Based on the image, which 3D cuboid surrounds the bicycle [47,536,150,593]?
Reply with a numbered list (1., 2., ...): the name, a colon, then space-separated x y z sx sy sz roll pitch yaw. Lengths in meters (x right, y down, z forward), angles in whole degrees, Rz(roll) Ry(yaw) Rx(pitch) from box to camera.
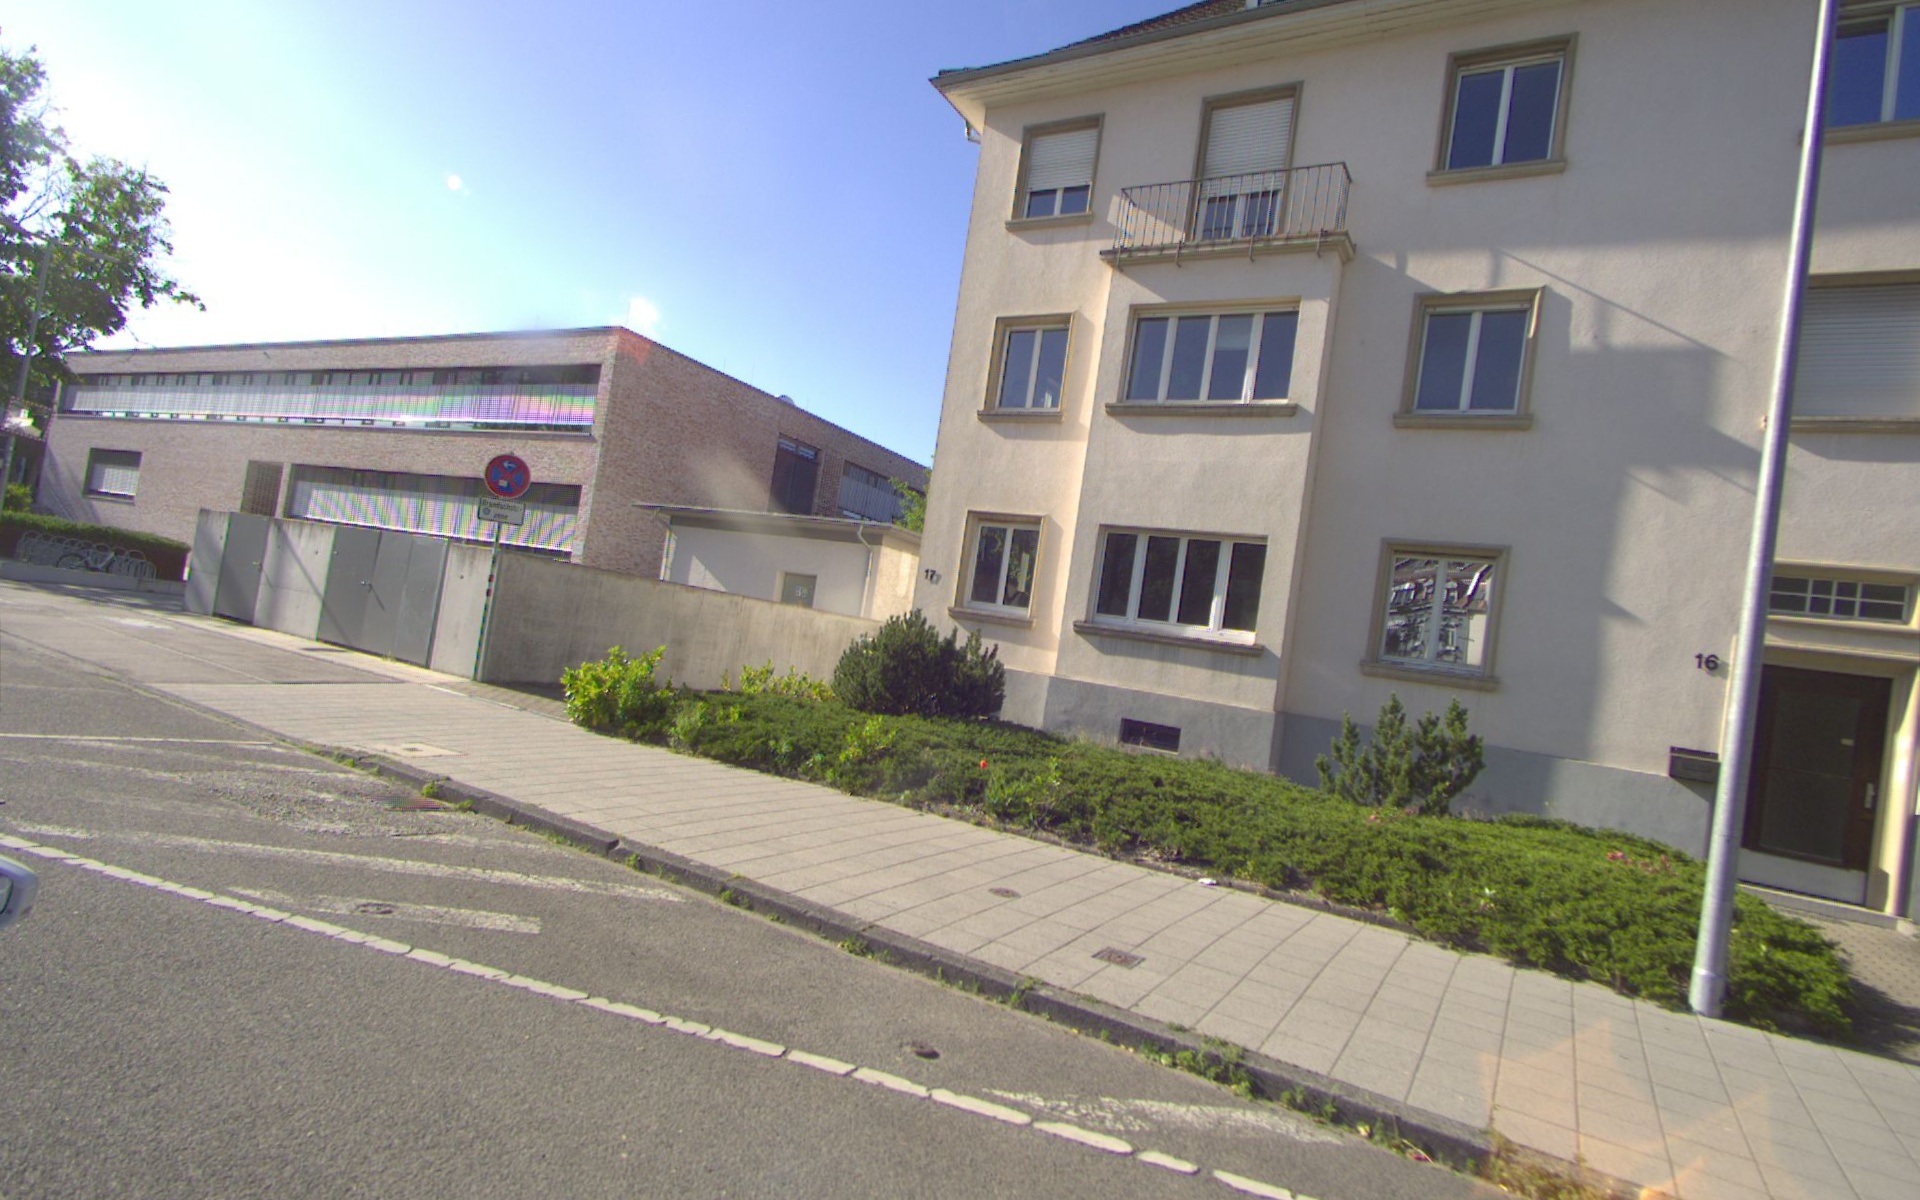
1. bicycle: -20.469 -0.834 23.932 0.491 1.040 1.675 7 -5 29
